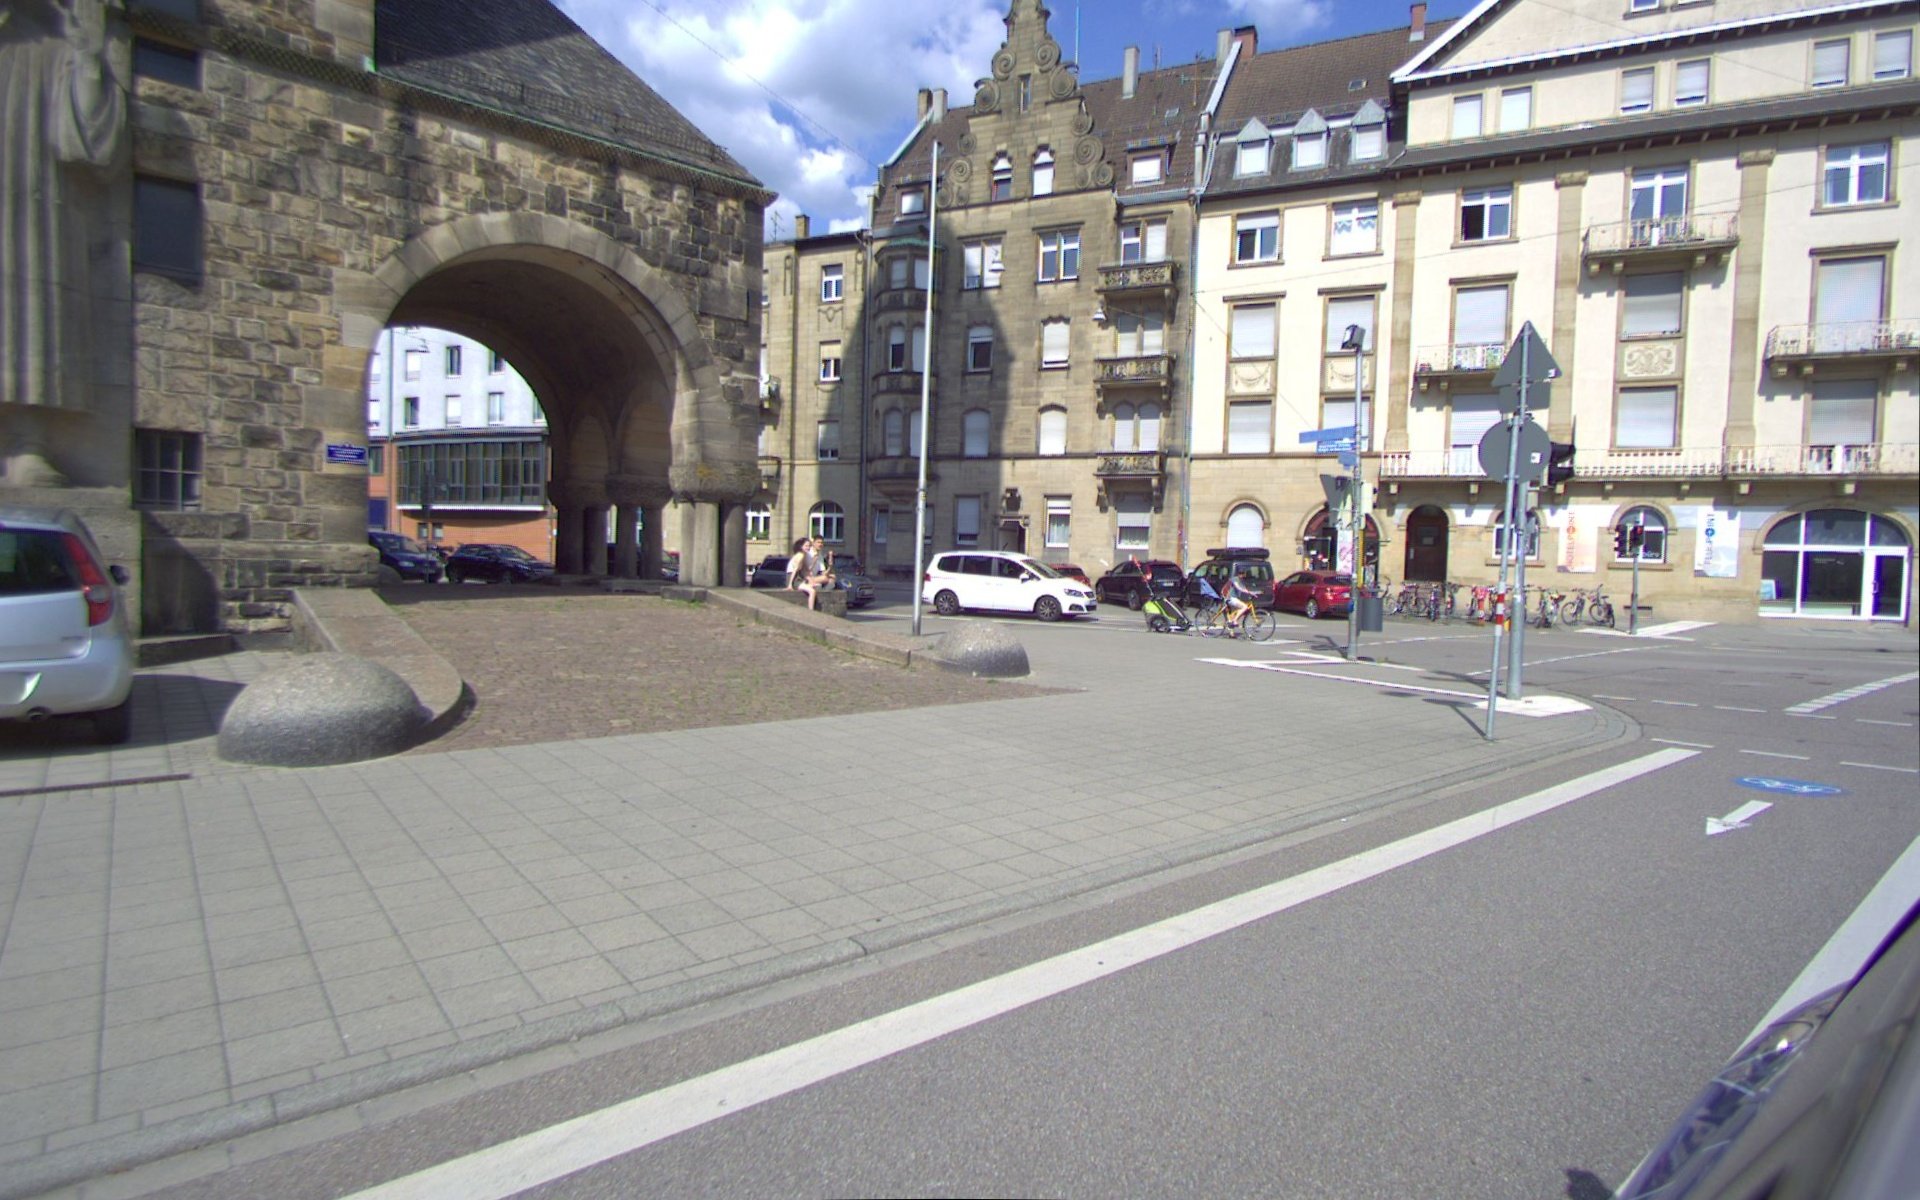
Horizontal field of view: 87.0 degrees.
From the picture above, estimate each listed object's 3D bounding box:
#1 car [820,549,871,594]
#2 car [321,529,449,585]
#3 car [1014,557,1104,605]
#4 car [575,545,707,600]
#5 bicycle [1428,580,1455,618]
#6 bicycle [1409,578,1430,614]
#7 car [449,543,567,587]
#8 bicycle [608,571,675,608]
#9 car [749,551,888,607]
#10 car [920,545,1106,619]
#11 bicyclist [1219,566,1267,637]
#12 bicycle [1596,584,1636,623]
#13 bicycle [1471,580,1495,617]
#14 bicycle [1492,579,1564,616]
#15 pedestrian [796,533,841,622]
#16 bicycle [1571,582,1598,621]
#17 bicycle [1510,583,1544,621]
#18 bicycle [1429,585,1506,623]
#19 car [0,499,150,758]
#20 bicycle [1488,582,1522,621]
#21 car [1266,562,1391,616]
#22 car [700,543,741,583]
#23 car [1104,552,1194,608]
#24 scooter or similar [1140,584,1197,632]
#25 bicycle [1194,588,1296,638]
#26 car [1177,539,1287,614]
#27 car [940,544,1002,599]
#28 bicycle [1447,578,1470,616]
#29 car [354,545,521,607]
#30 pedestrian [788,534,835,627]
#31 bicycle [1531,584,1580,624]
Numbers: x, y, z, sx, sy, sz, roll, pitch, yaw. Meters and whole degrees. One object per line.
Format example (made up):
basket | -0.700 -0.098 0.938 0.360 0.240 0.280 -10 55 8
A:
car | -4.668 -1.186 40.827 1.675 1.564 4.011 0 5 -11
car | -19.498 -1.481 34.311 4.032 1.684 1.800 4 4 26
car | 3.522 -0.737 36.852 1.876 1.461 4.012 -1 5 -16
car | -10.374 -0.929 32.887 4.029 1.616 1.689 3 2 25
bicycle | 14.870 -0.051 31.277 0.533 1.030 1.917 2 5 20
bicycle | 14.677 -0.146 32.346 0.534 1.030 1.914 2 5 24
car | -15.746 -1.233 35.249 3.821 1.407 1.689 3 2 25
bicycle | -6.790 -0.226 21.616 1.343 0.750 0.338 0 2 -42
car | -4.128 -0.643 29.477 3.696 1.468 1.661 3 2 25
car | 1.397 -0.525 26.926 4.614 1.761 1.800 3 2 25
bicyclist | 6.263 0.026 22.382 0.911 1.522 0.648 2 1 21
bicycle | 19.547 0.085 30.179 0.603 1.030 1.865 2 4 21
bicycle | 16.452 -0.065 31.863 0.534 1.030 1.914 2 5 24
bicycle | 17.806 -0.089 31.784 1.912 1.030 0.535 3 5 29
pedestrian | -2.379 -0.389 17.028 0.508 1.422 0.558 7 4 3
bicycle | 18.876 0.021 30.580 0.606 1.030 1.855 3 5 33
bicycle | 17.004 0.045 30.333 0.538 1.030 1.903 4 5 38
bicycle | 14.841 0.109 29.650 1.897 1.030 0.539 1 4 9
car | -7.156 0.083 7.411 1.766 1.566 3.774 0 3 -41
bicycle | 16.432 0.028 30.505 0.538 1.030 1.903 4 6 38
car | 11.749 -0.397 32.599 1.927 1.458 4.011 0 4 -11
car | -10.154 -1.609 43.103 1.573 1.518 3.786 0 5 -11
car | 6.494 -0.745 35.232 1.675 1.688 4.011 0 5 -11
scooter or similar | 4.705 0.164 22.781 1.117 0.989 0.884 2 2 21
bicycle | 6.291 0.272 22.367 2.109 1.001 0.648 2 2 21
car | 9.091 -0.866 34.191 1.927 2.105 4.014 0 7 -11
car | 0.356 -1.121 38.294 1.878 1.846 4.008 0 5 -6
bicycle | 15.823 -0.111 32.132 0.534 1.030 1.914 2 5 24
car | -15.201 -0.729 29.641 3.890 1.672 2.036 1 2 -8
pedestrian | -2.413 -0.326 16.463 0.508 1.422 0.558 7 4 3
bicycle | 17.509 0.101 29.735 1.844 1.030 0.602 -3 5 -39
